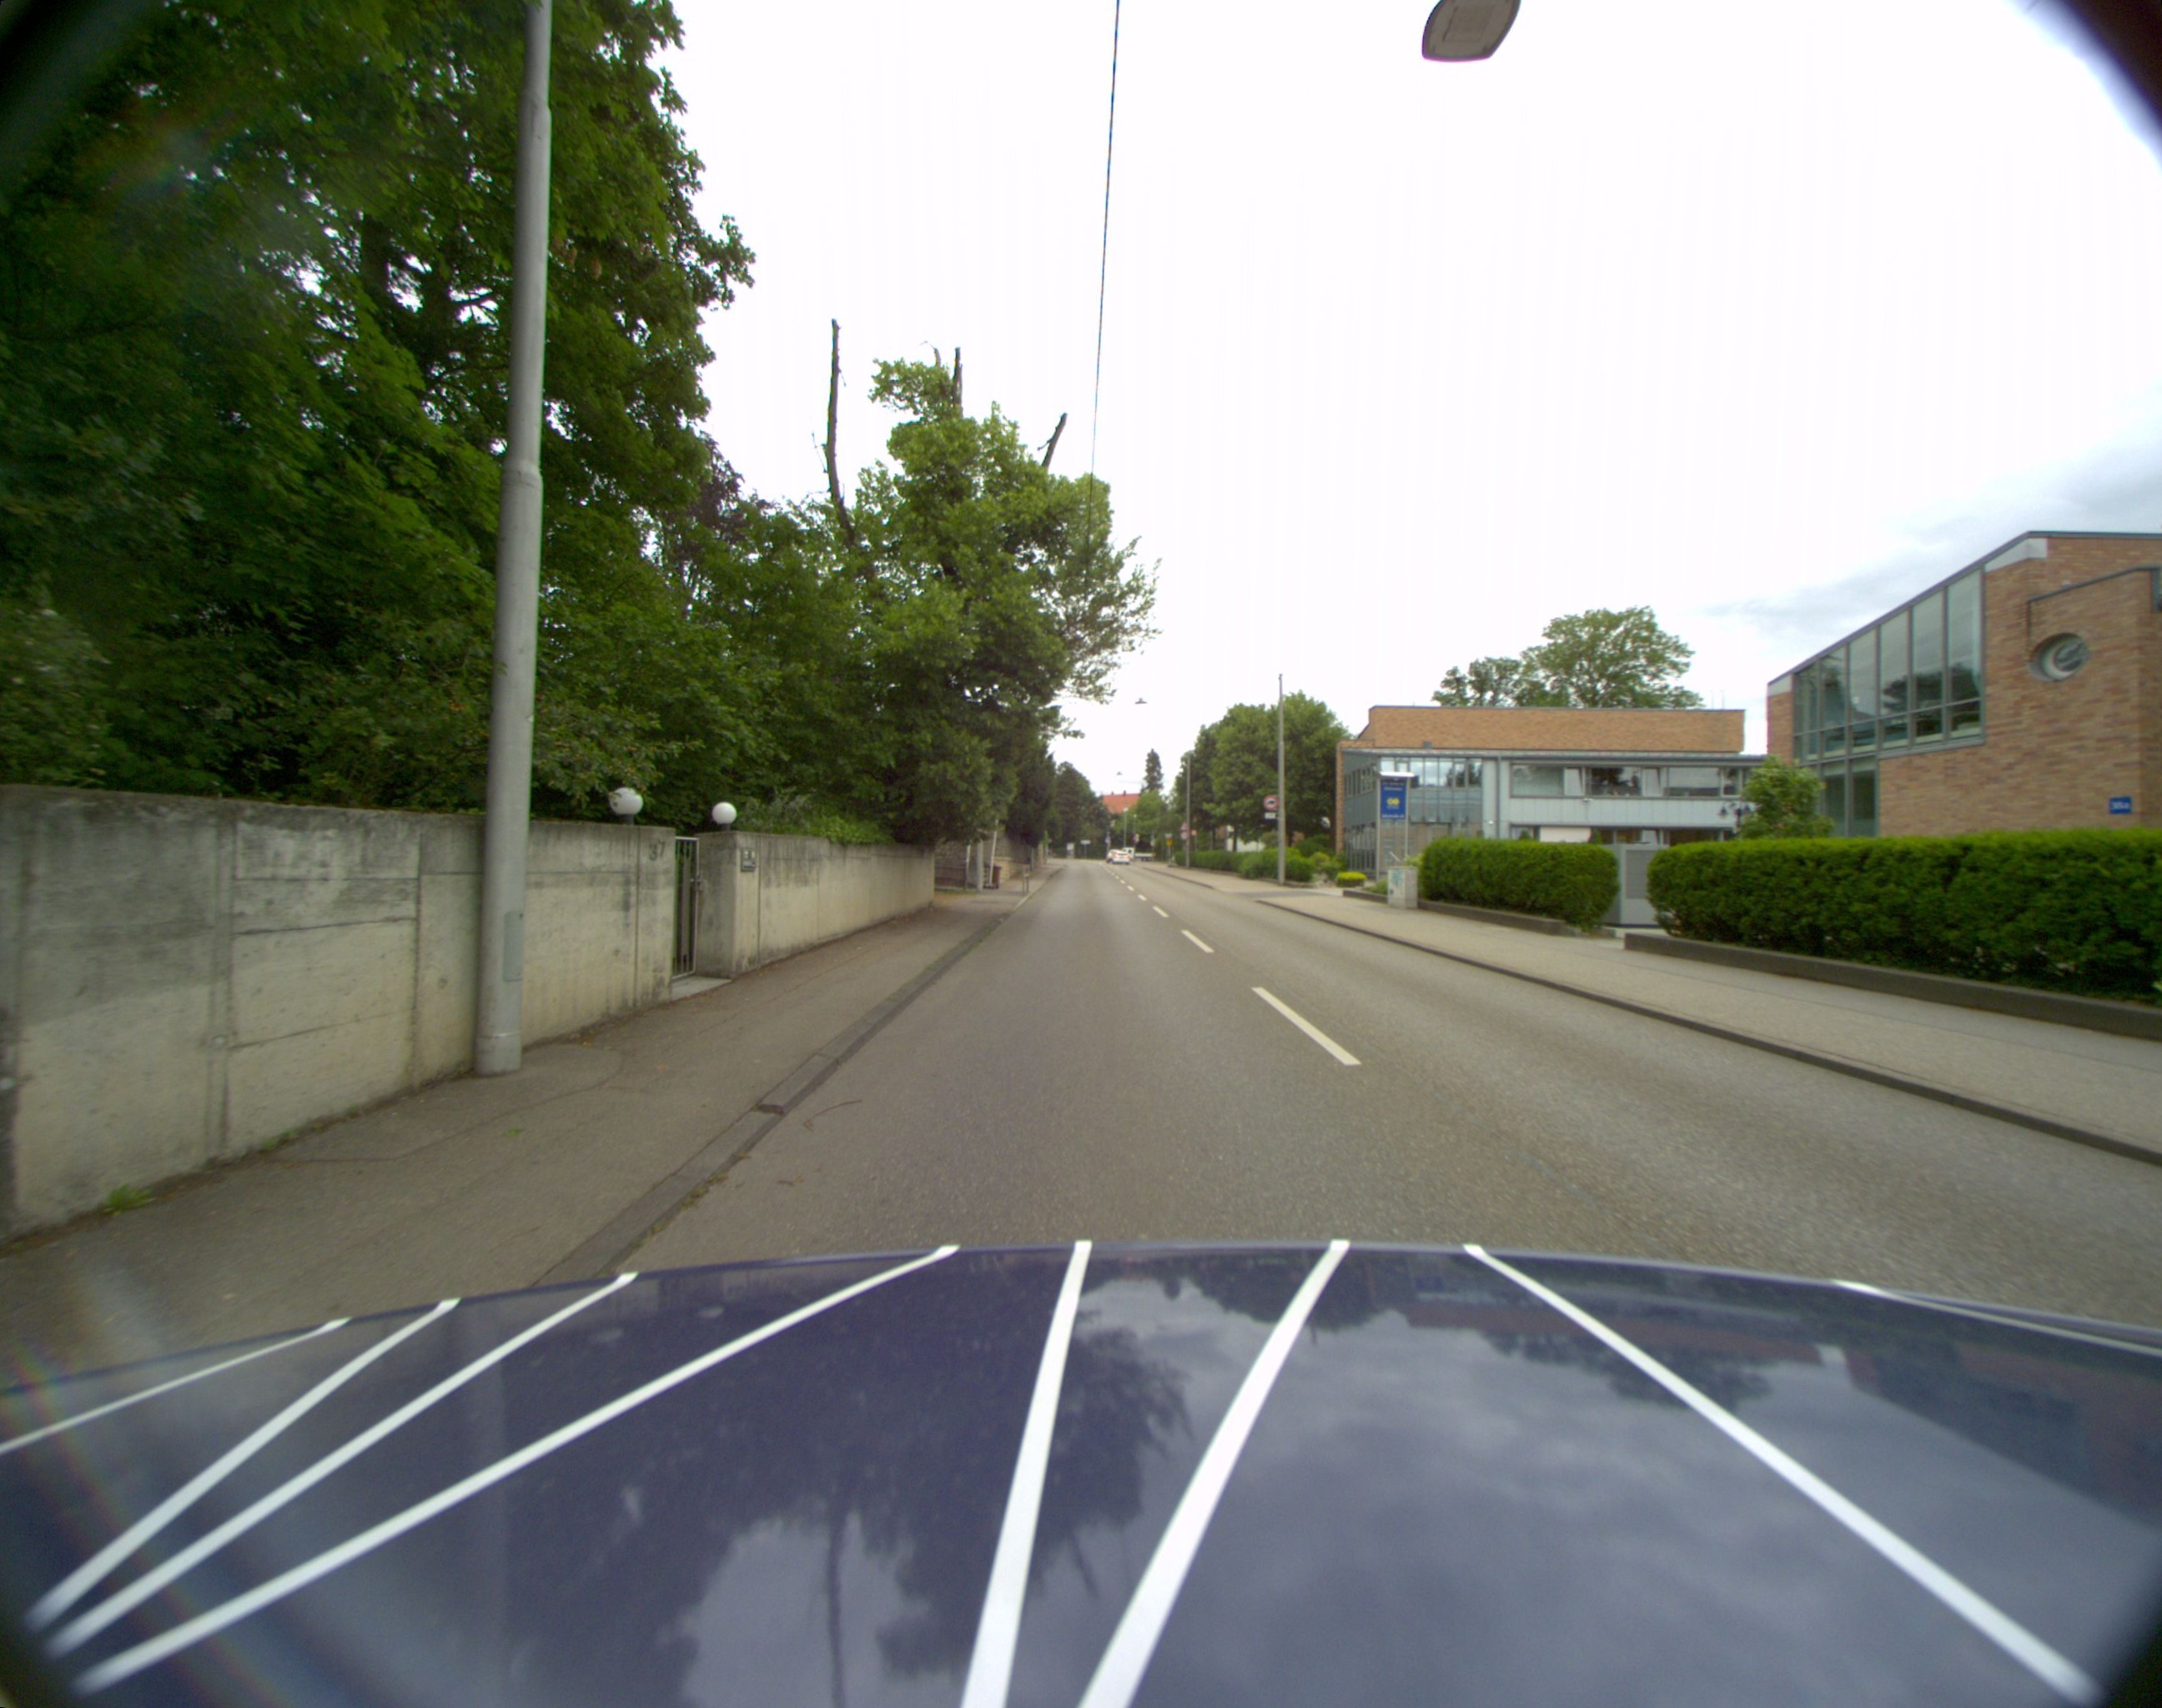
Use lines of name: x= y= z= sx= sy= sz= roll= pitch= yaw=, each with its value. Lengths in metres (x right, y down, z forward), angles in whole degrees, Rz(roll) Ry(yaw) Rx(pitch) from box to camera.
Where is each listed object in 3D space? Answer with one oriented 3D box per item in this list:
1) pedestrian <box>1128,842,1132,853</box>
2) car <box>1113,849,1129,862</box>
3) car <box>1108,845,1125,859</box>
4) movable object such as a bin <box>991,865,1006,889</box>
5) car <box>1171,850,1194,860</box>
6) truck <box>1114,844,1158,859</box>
pedestrian: x=8.128 y=-1.023 z=126.036 sx=0.666 sy=1.777 sz=0.613 roll=2 pitch=1 yaw=9
car: x=4.508 y=0.136 z=85.241 sx=1.770 sy=1.413 sz=4.066 roll=0 pitch=0 yaw=3
car: x=4.273 y=-0.278 z=92.160 sx=1.773 sy=1.628 sz=4.302 roll=-1 pitch=0 yaw=0
movable object such as a bin: x=-3.208 y=0.889 z=29.573 sx=0.446 sy=0.904 sz=0.395 roll=3 pitch=-1 yaw=10
car: x=16.846 y=0.156 z=126.110 sx=1.994 sy=1.603 sz=4.009 roll=2 pitch=1 yaw=38
truck: x=8.952 y=-0.414 z=123.640 sx=6.706 sy=2.176 sz=2.532 roll=2 pitch=1 yaw=11
